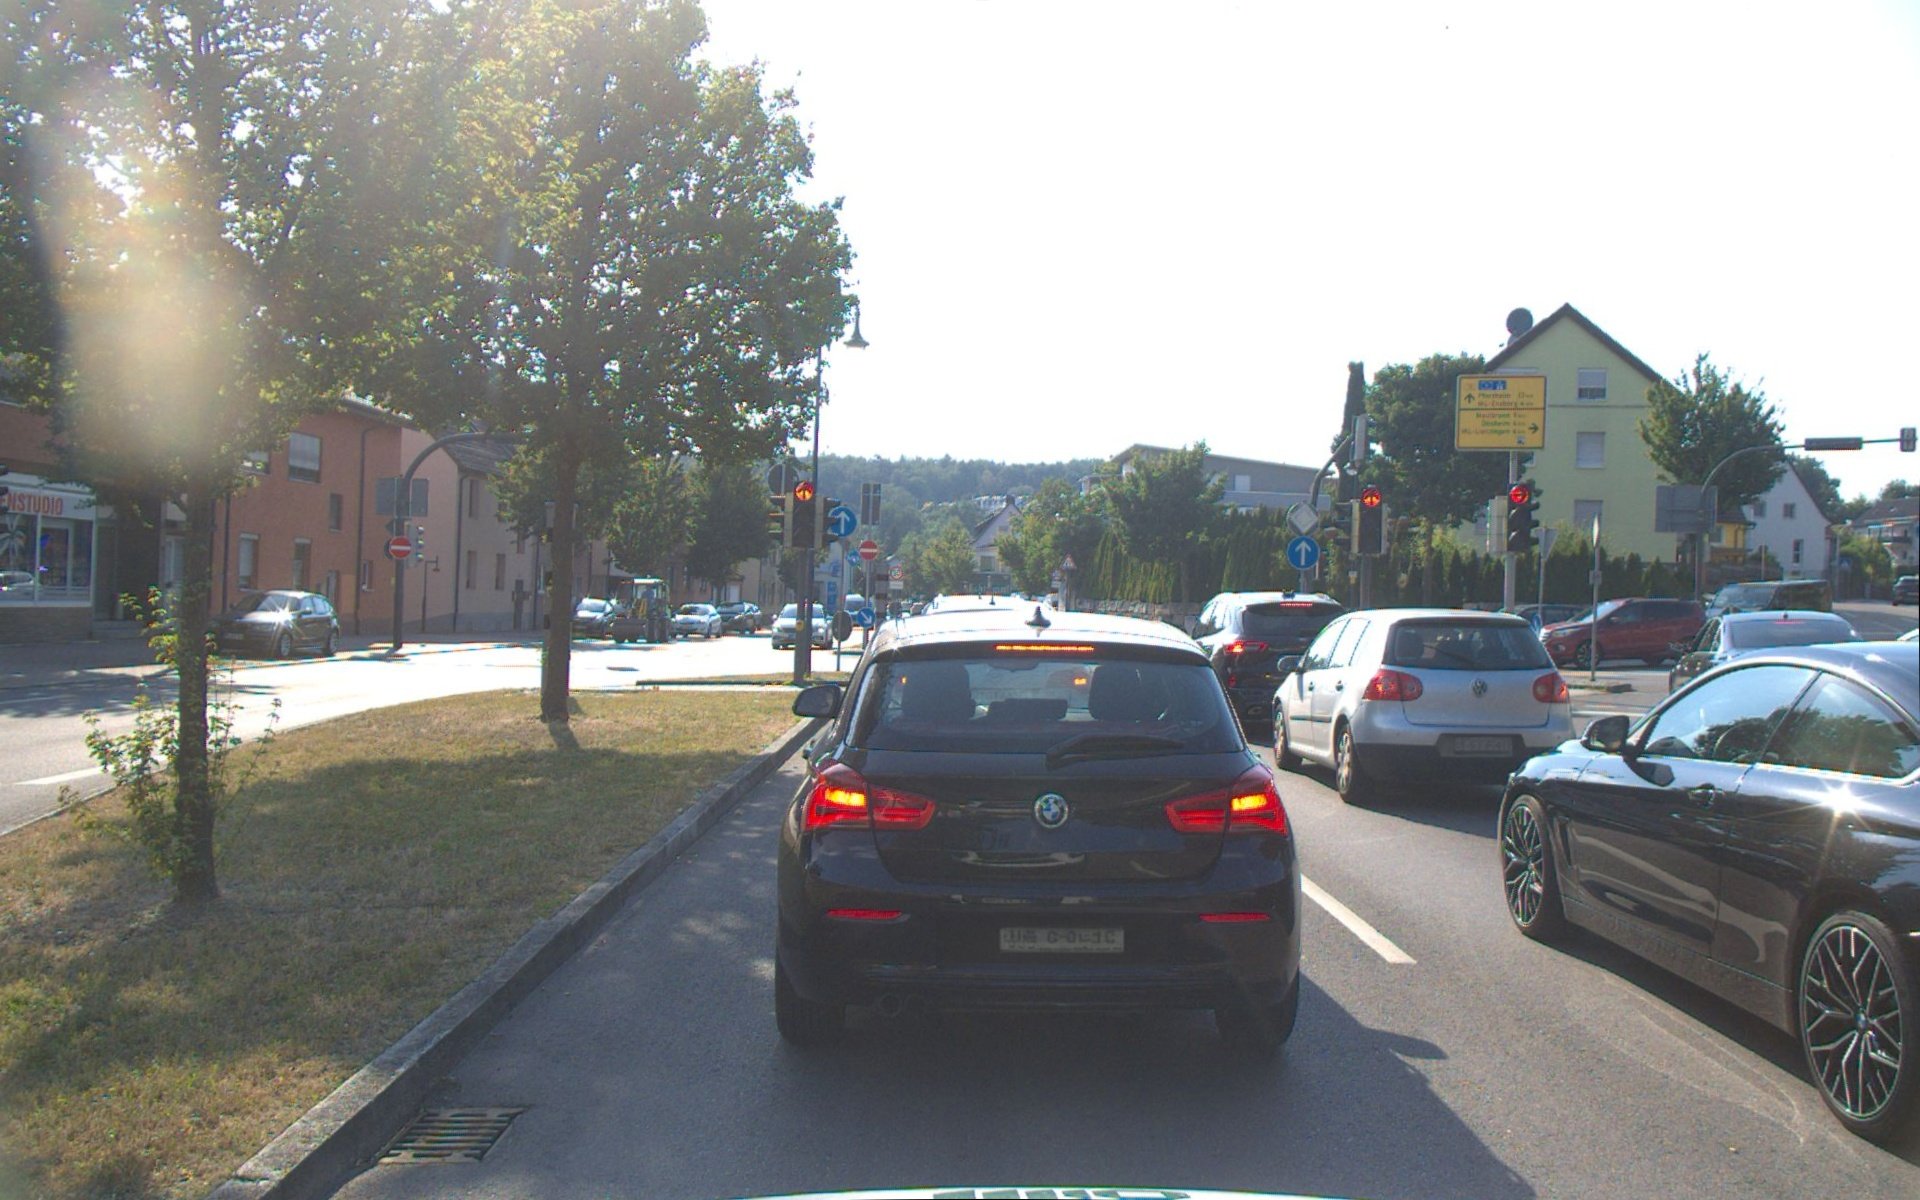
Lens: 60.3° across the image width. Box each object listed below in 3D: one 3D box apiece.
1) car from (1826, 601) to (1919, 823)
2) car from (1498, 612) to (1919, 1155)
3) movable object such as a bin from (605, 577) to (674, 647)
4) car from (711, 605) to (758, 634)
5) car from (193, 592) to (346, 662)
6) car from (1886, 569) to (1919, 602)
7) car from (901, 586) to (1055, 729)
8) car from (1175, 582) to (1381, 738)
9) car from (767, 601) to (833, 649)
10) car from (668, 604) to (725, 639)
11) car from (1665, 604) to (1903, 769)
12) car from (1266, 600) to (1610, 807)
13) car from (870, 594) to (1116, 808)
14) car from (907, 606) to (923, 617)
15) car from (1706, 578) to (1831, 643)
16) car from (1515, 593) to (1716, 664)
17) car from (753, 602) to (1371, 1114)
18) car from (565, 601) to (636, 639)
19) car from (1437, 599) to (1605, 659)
[{"bbox_3d":[7.615,0.801,11.645,1.583,1.569,3.320,-1,0,6],"label":"car"},{"bbox_3d":[3.464,0.786,5.837,1.725,1.422,4.280,-1,0,0],"label":"car"},{"bbox_3d":[-11.857,0.432,61.443,1.701,2.485,4.449,0,0,0],"label":"movable object such as a bin"},{"bbox_3d":[-11.618,0.983,85.369,1.701,1.323,3.800,5,0,2],"label":"car"},{"bbox_3d":[-15.479,0.572,37.310,1.702,1.323,3.999,5,0,-1],"label":"car"},{"bbox_3d":[50.608,-0.757,88.358,1.927,1.709,4.209,0,0,28],"label":"car"},{"bbox_3d":[0.200,0.649,21.041,1.751,1.622,4.280,-1,0,0],"label":"car"},{"bbox_3d":[3.739,0.650,20.075,1.725,1.685,3.902,-1,0,0],"label":"car"},{"bbox_3d":[-5.315,0.805,55.425,1.801,1.508,4.000,1,0,0],"label":"car"},{"bbox_3d":[-11.770,0.946,73.947,1.701,1.323,3.800,5,0,2],"label":"car"},{"bbox_3d":[9.039,0.856,18.478,1.621,1.569,4.401,-1,0,17],"label":"car"},{"bbox_3d":[3.786,0.742,13.793,1.725,1.451,3.902,-1,0,0],"label":"car"},{"bbox_3d":[0.230,0.716,14.001,1.751,1.520,4.280,-1,0,0],"label":"car"},{"bbox_3d":[-5.978,1.530,220.686,1.701,1.323,3.800,5,0,2],"label":"car"},{"bbox_3d":[23.469,0.303,47.934,1.818,1.770,4.749,1,0,45],"label":"car"},{"bbox_3d":[16.318,0.696,41.273,4.333,1.670,1.845,1,0,-8],"label":"car"},{"bbox_3d":[0.289,0.736,6.856,1.751,1.422,4.280,-1,0,0],"label":"car"},{"bbox_3d":[-14.506,0.804,66.924,1.701,1.323,4.001,5,0,3],"label":"car"},{"bbox_3d":[15.161,0.769,44.852,3.907,1.515,1.847,1,0,-3],"label":"car"}]
